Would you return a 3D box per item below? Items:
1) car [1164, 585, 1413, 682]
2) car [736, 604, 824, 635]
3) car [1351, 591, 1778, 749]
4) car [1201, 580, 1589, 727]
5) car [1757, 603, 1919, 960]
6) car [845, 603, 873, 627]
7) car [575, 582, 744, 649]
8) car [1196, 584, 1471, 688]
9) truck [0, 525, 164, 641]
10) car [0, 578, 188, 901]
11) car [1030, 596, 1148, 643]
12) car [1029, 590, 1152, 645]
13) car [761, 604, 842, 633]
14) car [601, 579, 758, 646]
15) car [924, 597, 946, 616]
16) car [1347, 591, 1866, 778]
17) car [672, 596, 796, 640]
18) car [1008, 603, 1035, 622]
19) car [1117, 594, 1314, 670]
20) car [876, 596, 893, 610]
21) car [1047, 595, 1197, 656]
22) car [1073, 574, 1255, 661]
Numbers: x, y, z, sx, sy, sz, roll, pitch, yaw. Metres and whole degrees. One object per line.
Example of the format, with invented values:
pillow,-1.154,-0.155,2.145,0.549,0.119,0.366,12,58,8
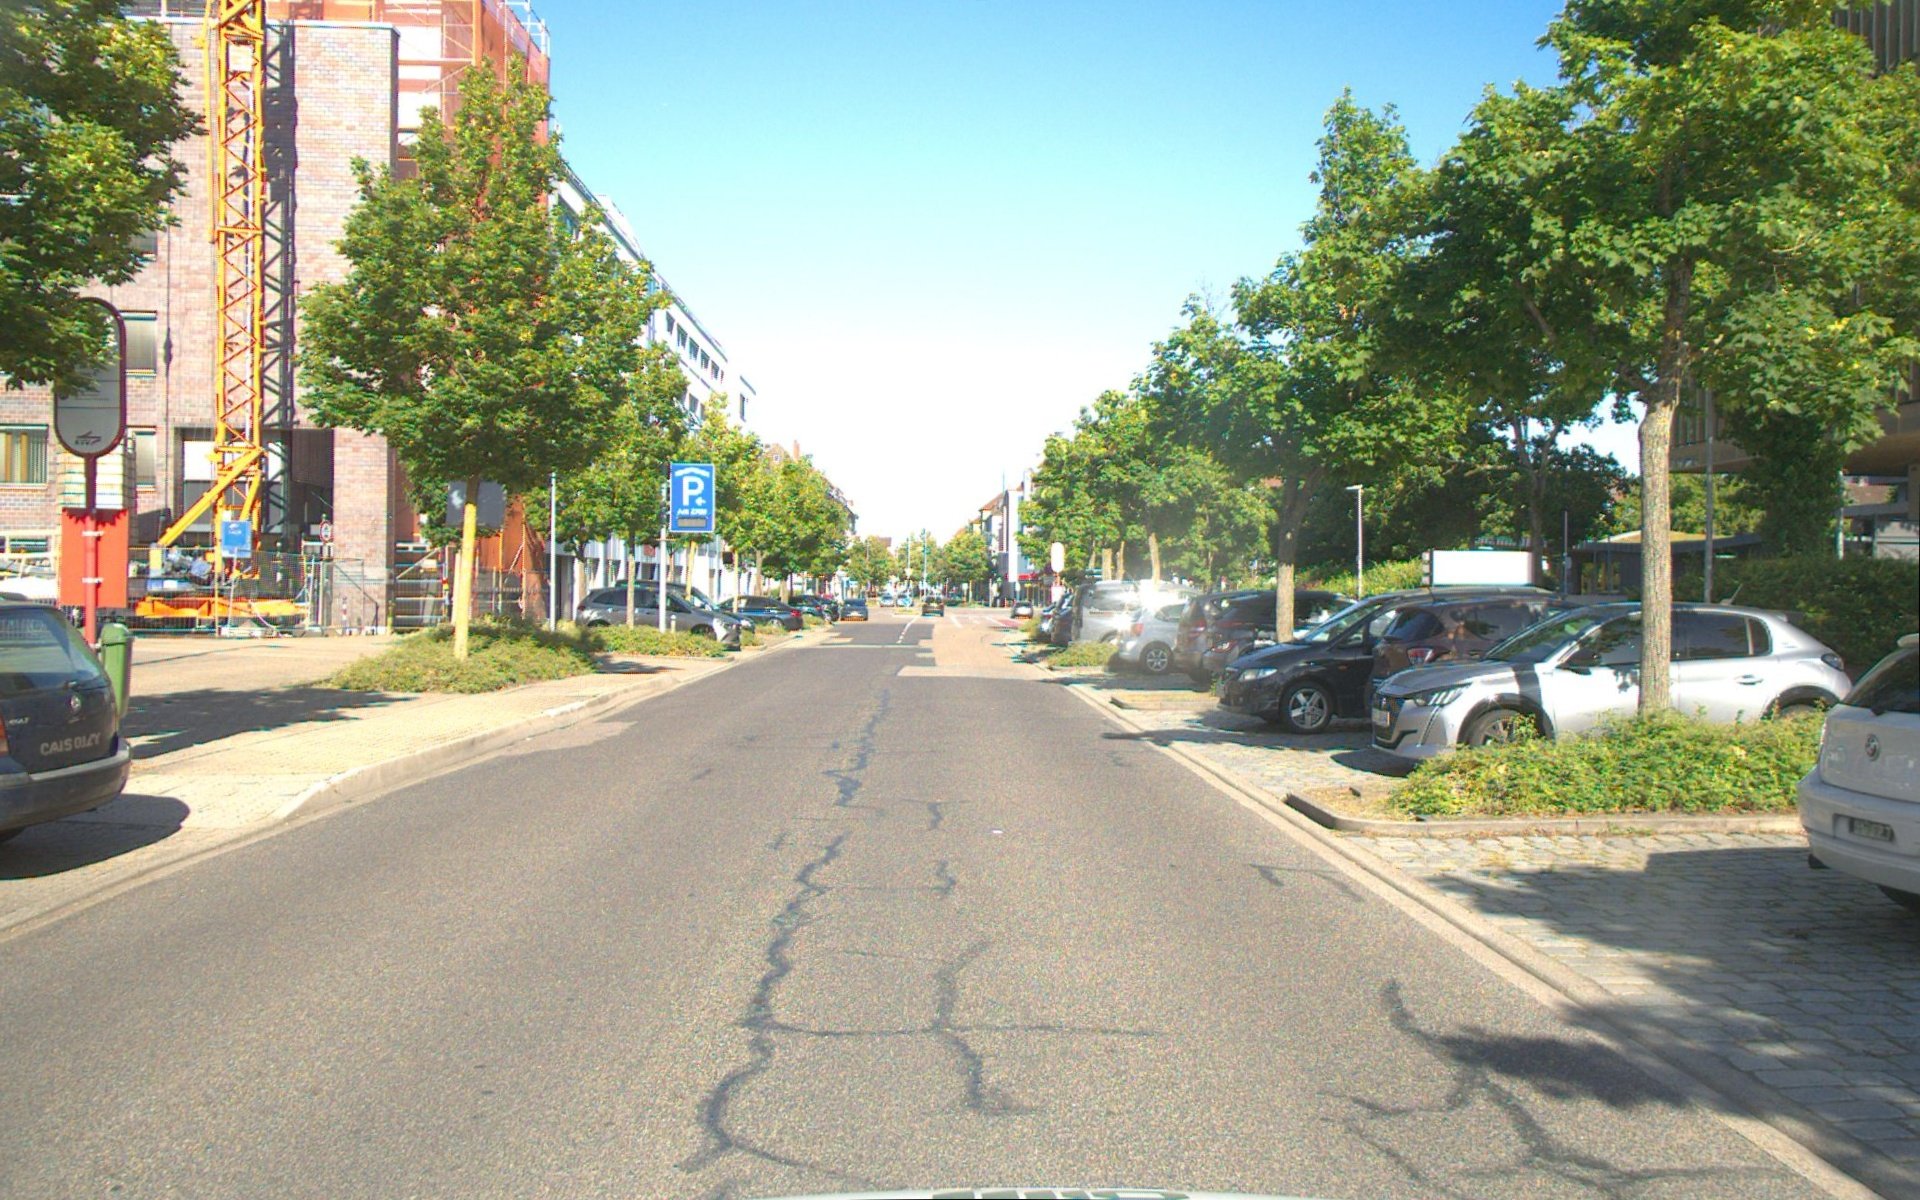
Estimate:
car,5.611,0.567,28.626,3.906,1.610,2.031,0,0,-1
car,-9.027,0.971,83.249,4.244,1.500,1.817,0,1,-2
car,6.124,0.680,17.000,3.785,1.531,1.651,0,0,-4
car,4.992,0.586,19.321,4.061,1.607,1.740,0,0,-3
car,5.894,0.715,7.221,3.978,1.450,1.742,-1,-1,0
car,-6.714,0.968,110.615,1.775,1.500,4.109,0,1,-2
car,-7.841,0.397,43.414,4.176,1.694,1.599,0,1,-2
car,5.809,0.565,26.061,3.906,1.565,1.861,0,-1,-1
truck,-22.313,-0.414,38.203,6.717,2.591,2.280,0,1,0
car,-6.626,0.614,8.864,4.049,1.518,1.868,2,1,-4
car,4.267,0.651,54.959,3.831,1.500,1.758,0,-2,3
car,4.121,0.535,52.656,3.831,1.671,1.878,0,1,3
car,-8.628,1.000,90.167,4.244,1.500,1.817,0,1,-2
car,-8.102,0.349,48.071,4.242,1.894,1.818,0,1,0
car,-2.096,0.527,137.540,1.775,1.500,4.110,0,1,0
car,5.471,0.687,14.321,3.822,1.512,1.742,0,0,-2
car,-7.970,0.630,58.711,4.246,1.500,1.816,0,1,-5
car,5.284,1.066,141.809,1.950,1.500,4.108,0,1,-3
car,5.127,0.643,33.471,3.690,1.485,1.817,0,0,-2
car,-9.489,0.312,207.224,1.832,1.671,3.927,0,1,2
car,4.198,0.649,43.249,3.831,1.500,1.796,0,1,3
car,4.580,0.369,37.484,3.906,1.912,1.682,0,1,-1
